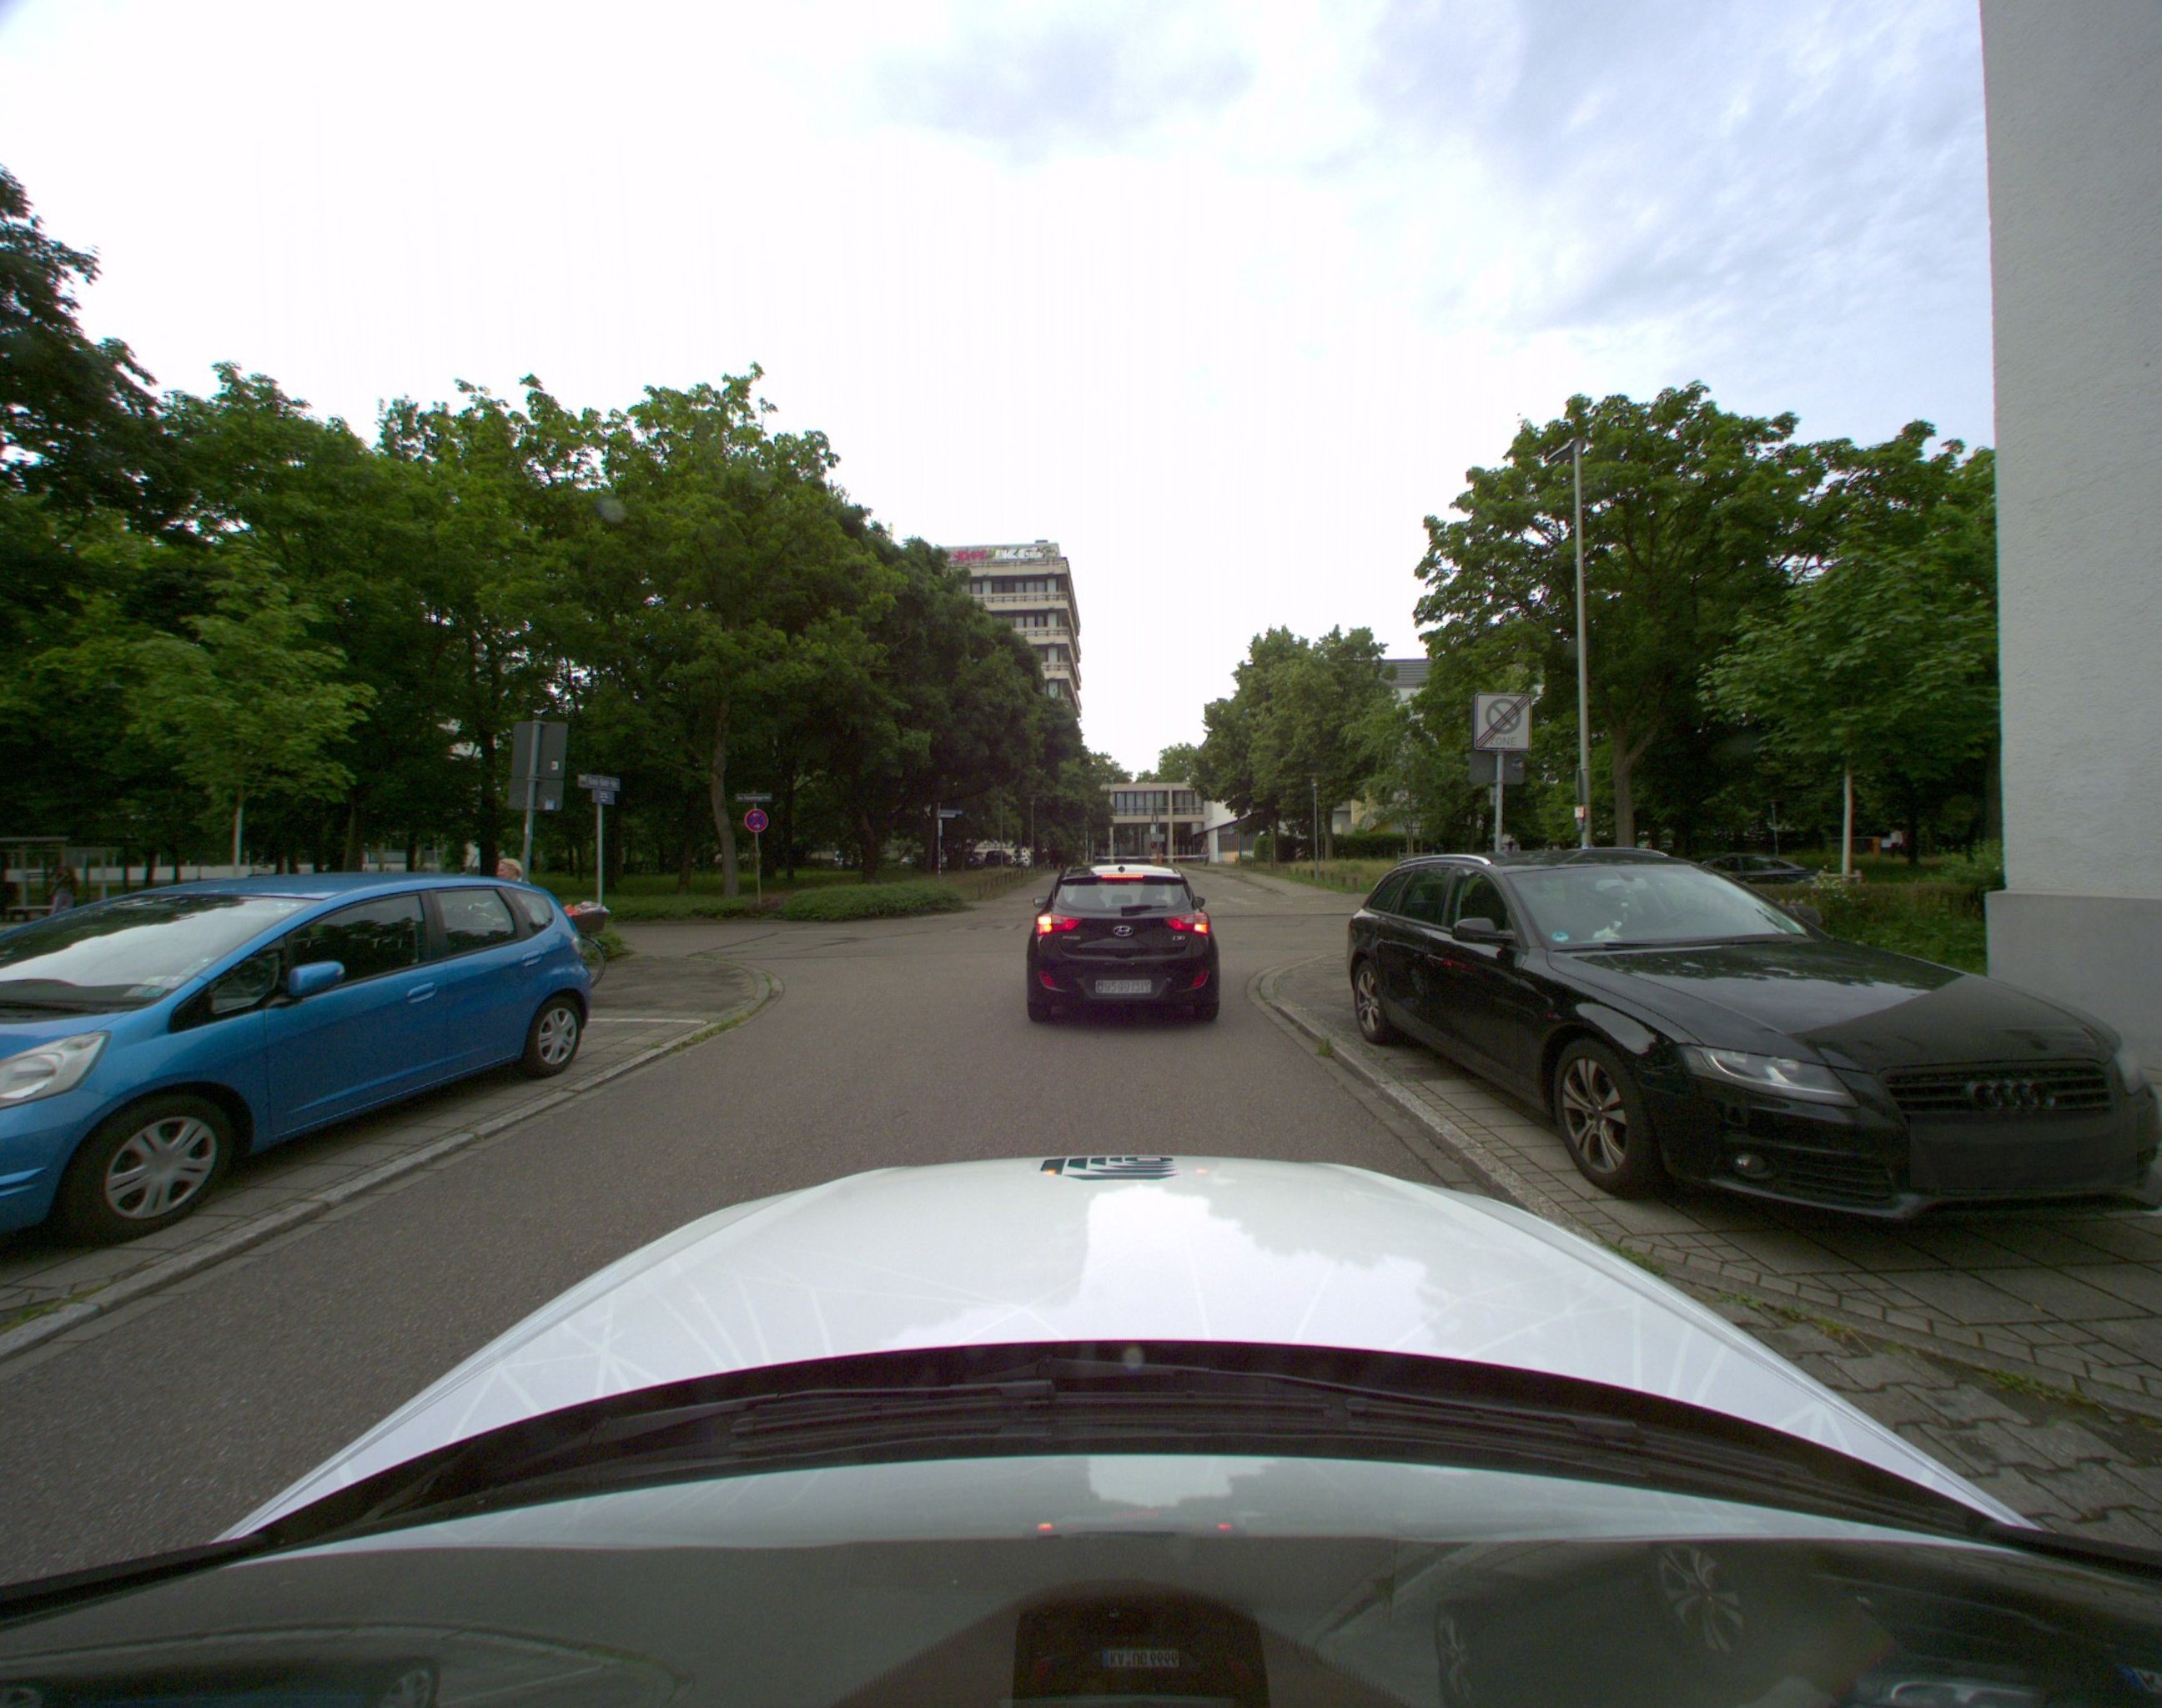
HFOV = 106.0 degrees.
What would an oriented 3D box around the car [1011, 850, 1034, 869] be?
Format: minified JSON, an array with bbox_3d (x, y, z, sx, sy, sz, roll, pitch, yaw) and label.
[{"bbox_3d":[-5.468,0.534,77.004,1.988,1.762,3.996,-1,-1,-2],"label":"car"}]

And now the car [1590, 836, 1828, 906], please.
[{"bbox_3d":[14.439,0.371,18.890,4.090,1.462,1.870,-1,0,-1],"label":"car"}]

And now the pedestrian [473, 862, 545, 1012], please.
[{"bbox_3d":[-6.193,0.867,8.821,0.571,1.550,0.443,-1,0,-42],"label":"pedestrian"}]

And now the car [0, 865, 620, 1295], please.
[{"bbox_3d":[-4.732,0.848,4.754,1.724,1.462,3.958,1,0,1],"label":"car"}]

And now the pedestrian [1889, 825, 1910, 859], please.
[{"bbox_3d":[43.524,-0.644,43.288,0.567,1.798,0.545,-1,0,11],"label":"pedestrian"}]

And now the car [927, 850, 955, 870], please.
[{"bbox_3d":[-13.153,0.618,76.778,1.988,1.728,3.996,-1,-2,-2],"label":"car"}]

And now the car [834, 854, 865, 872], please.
[{"bbox_3d":[-22.024,0.827,77.564,1.913,1.618,3.997,-1,0,-2],"label":"car"}]

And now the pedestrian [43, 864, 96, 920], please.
[{"bbox_3d":[-29.291,1.099,23.592,0.693,1.583,0.656,-1,0,3],"label":"pedestrian"}]

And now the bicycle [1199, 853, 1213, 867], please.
[{"bbox_3d":[9.905,0.462,64.550,0.863,1.074,2.143,-1,0,3],"label":"bicycle"}]

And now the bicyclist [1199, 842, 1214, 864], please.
[{"bbox_3d":[9.964,-0.081,64.616,1.013,1.644,0.924,-1,0,2],"label":"bicyclist"}]

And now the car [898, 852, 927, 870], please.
[{"bbox_3d":[-15.861,0.653,76.905,1.988,1.618,3.997,-1,0,-2],"label":"car"}]

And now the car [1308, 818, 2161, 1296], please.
[{"bbox_3d":[2.988,0.631,4.954,1.854,1.462,4.724,-2,0,0],"label":"car"}]

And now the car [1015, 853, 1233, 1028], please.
[{"bbox_3d":[0.355,0.750,8.854,1.840,1.462,3.826,-1,-1,-1],"label":"car"}]

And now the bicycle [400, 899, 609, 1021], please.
[{"bbox_3d":[-6.315,1.116,8.998,1.827,1.119,0.532,-1,0,-39],"label":"bicycle"}]

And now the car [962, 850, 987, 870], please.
[{"bbox_3d":[-10.048,0.586,77.040,1.988,1.794,3.996,-1,-2,-2],"label":"car"}]
